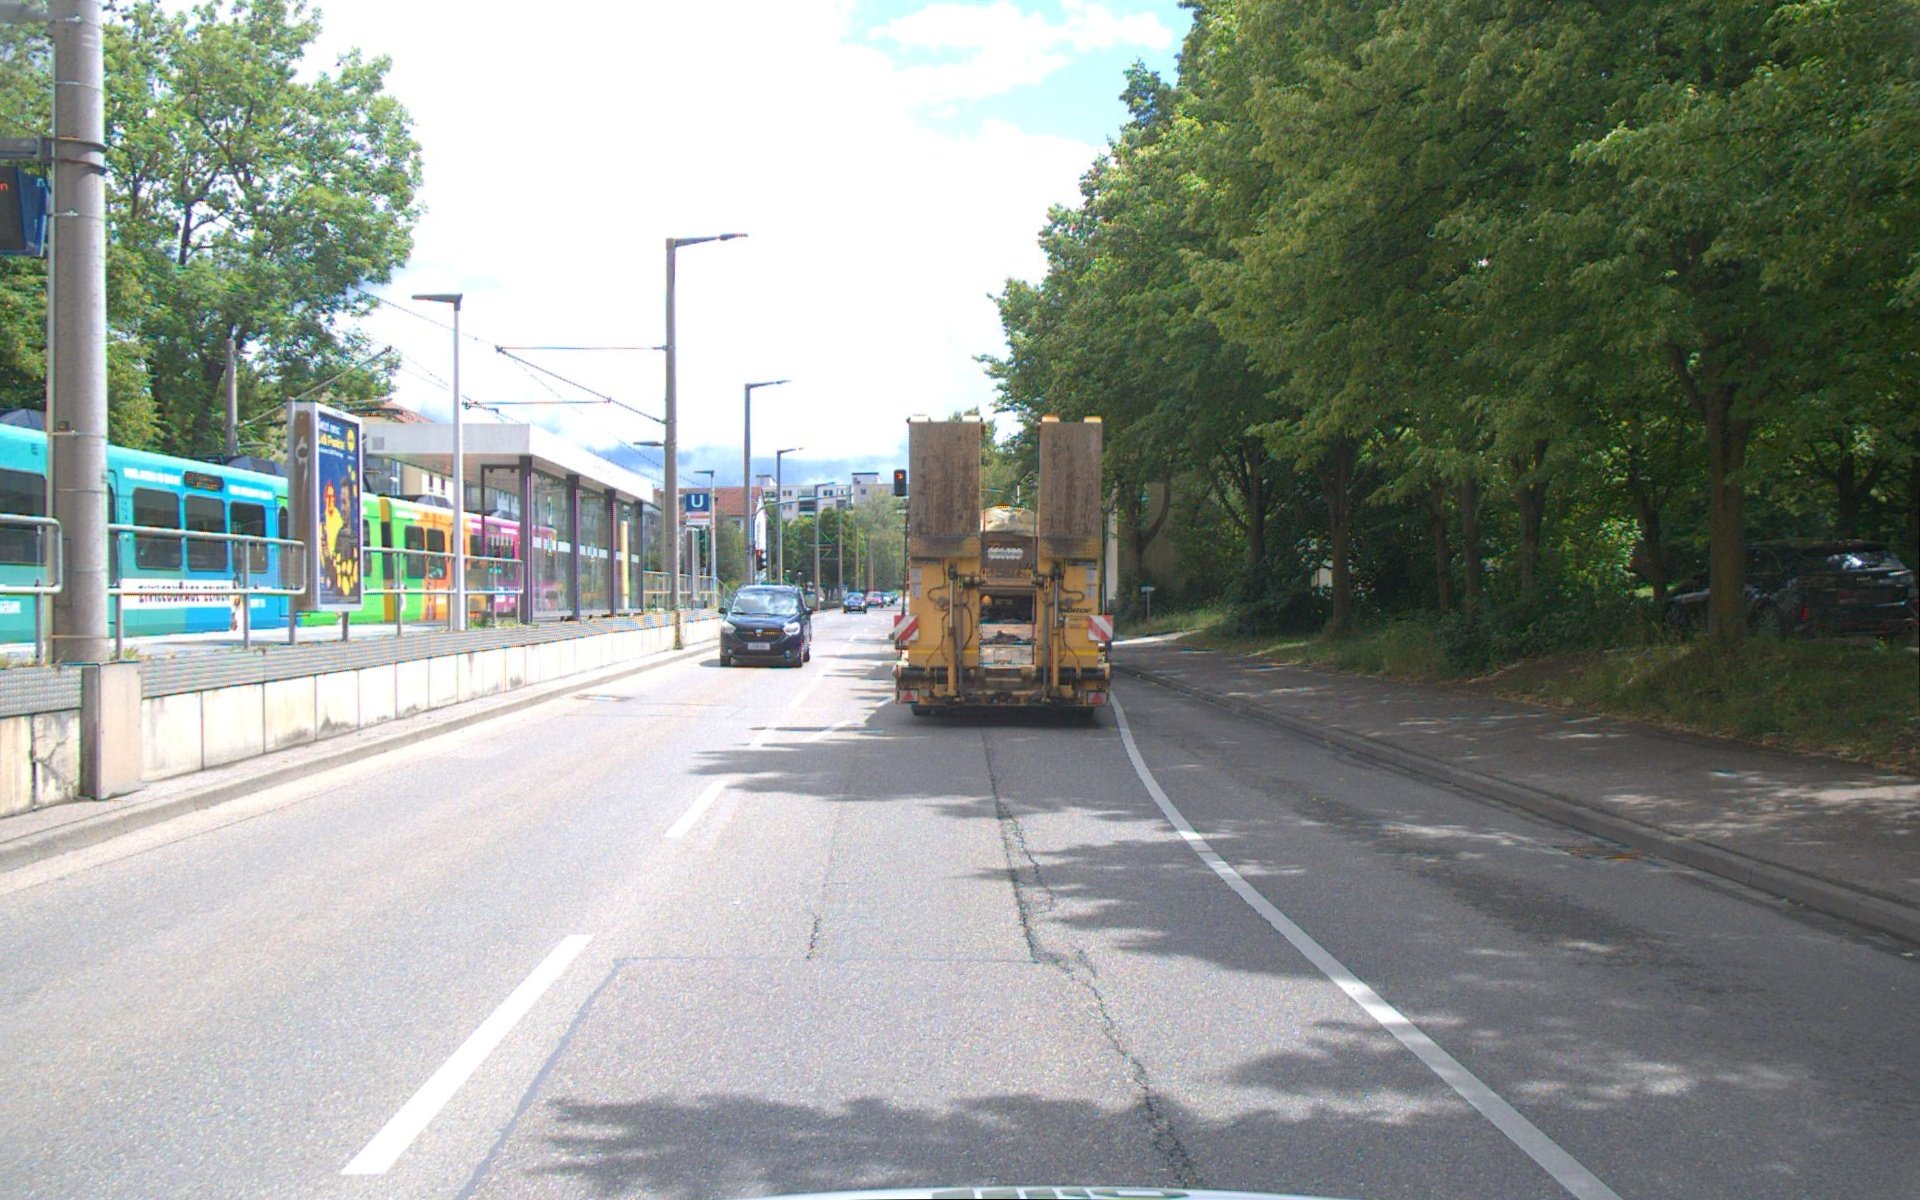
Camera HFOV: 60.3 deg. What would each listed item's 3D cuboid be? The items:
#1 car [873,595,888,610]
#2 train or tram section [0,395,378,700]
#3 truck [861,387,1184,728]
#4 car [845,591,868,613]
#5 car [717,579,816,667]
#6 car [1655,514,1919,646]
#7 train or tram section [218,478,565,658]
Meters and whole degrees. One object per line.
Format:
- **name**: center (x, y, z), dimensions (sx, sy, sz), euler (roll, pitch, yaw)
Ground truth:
- **car**: center (-8.728, 0.281, 181.202), dimensions (1.634, 1.478, 3.677), euler (1, -1, -3)
- **train or tram section**: center (-12.809, -0.634, 23.450), dimensions (3.045, 3.525, 19.189), euler (1, 0, -2)
- **truck**: center (0.310, -0.495, 25.402), dimensions (3.336, 3.797, 13.725), euler (0, 0, -5)
- **car**: center (-7.551, 0.166, 120.784), dimensions (1.634, 1.478, 3.677), euler (1, -1, -3)
- **car**: center (-4.025, 0.456, 35.024), dimensions (1.686, 1.712, 4.385), euler (1, 0, -2)
- **car**: center (11.168, -0.245, 22.295), dimensions (1.680, 1.534, 4.158), euler (-3, 0, -1)
- **train or tram section**: center (-13.632, -0.649, 42.575), dimensions (3.045, 3.525, 19.080), euler (1, 0, -2)
